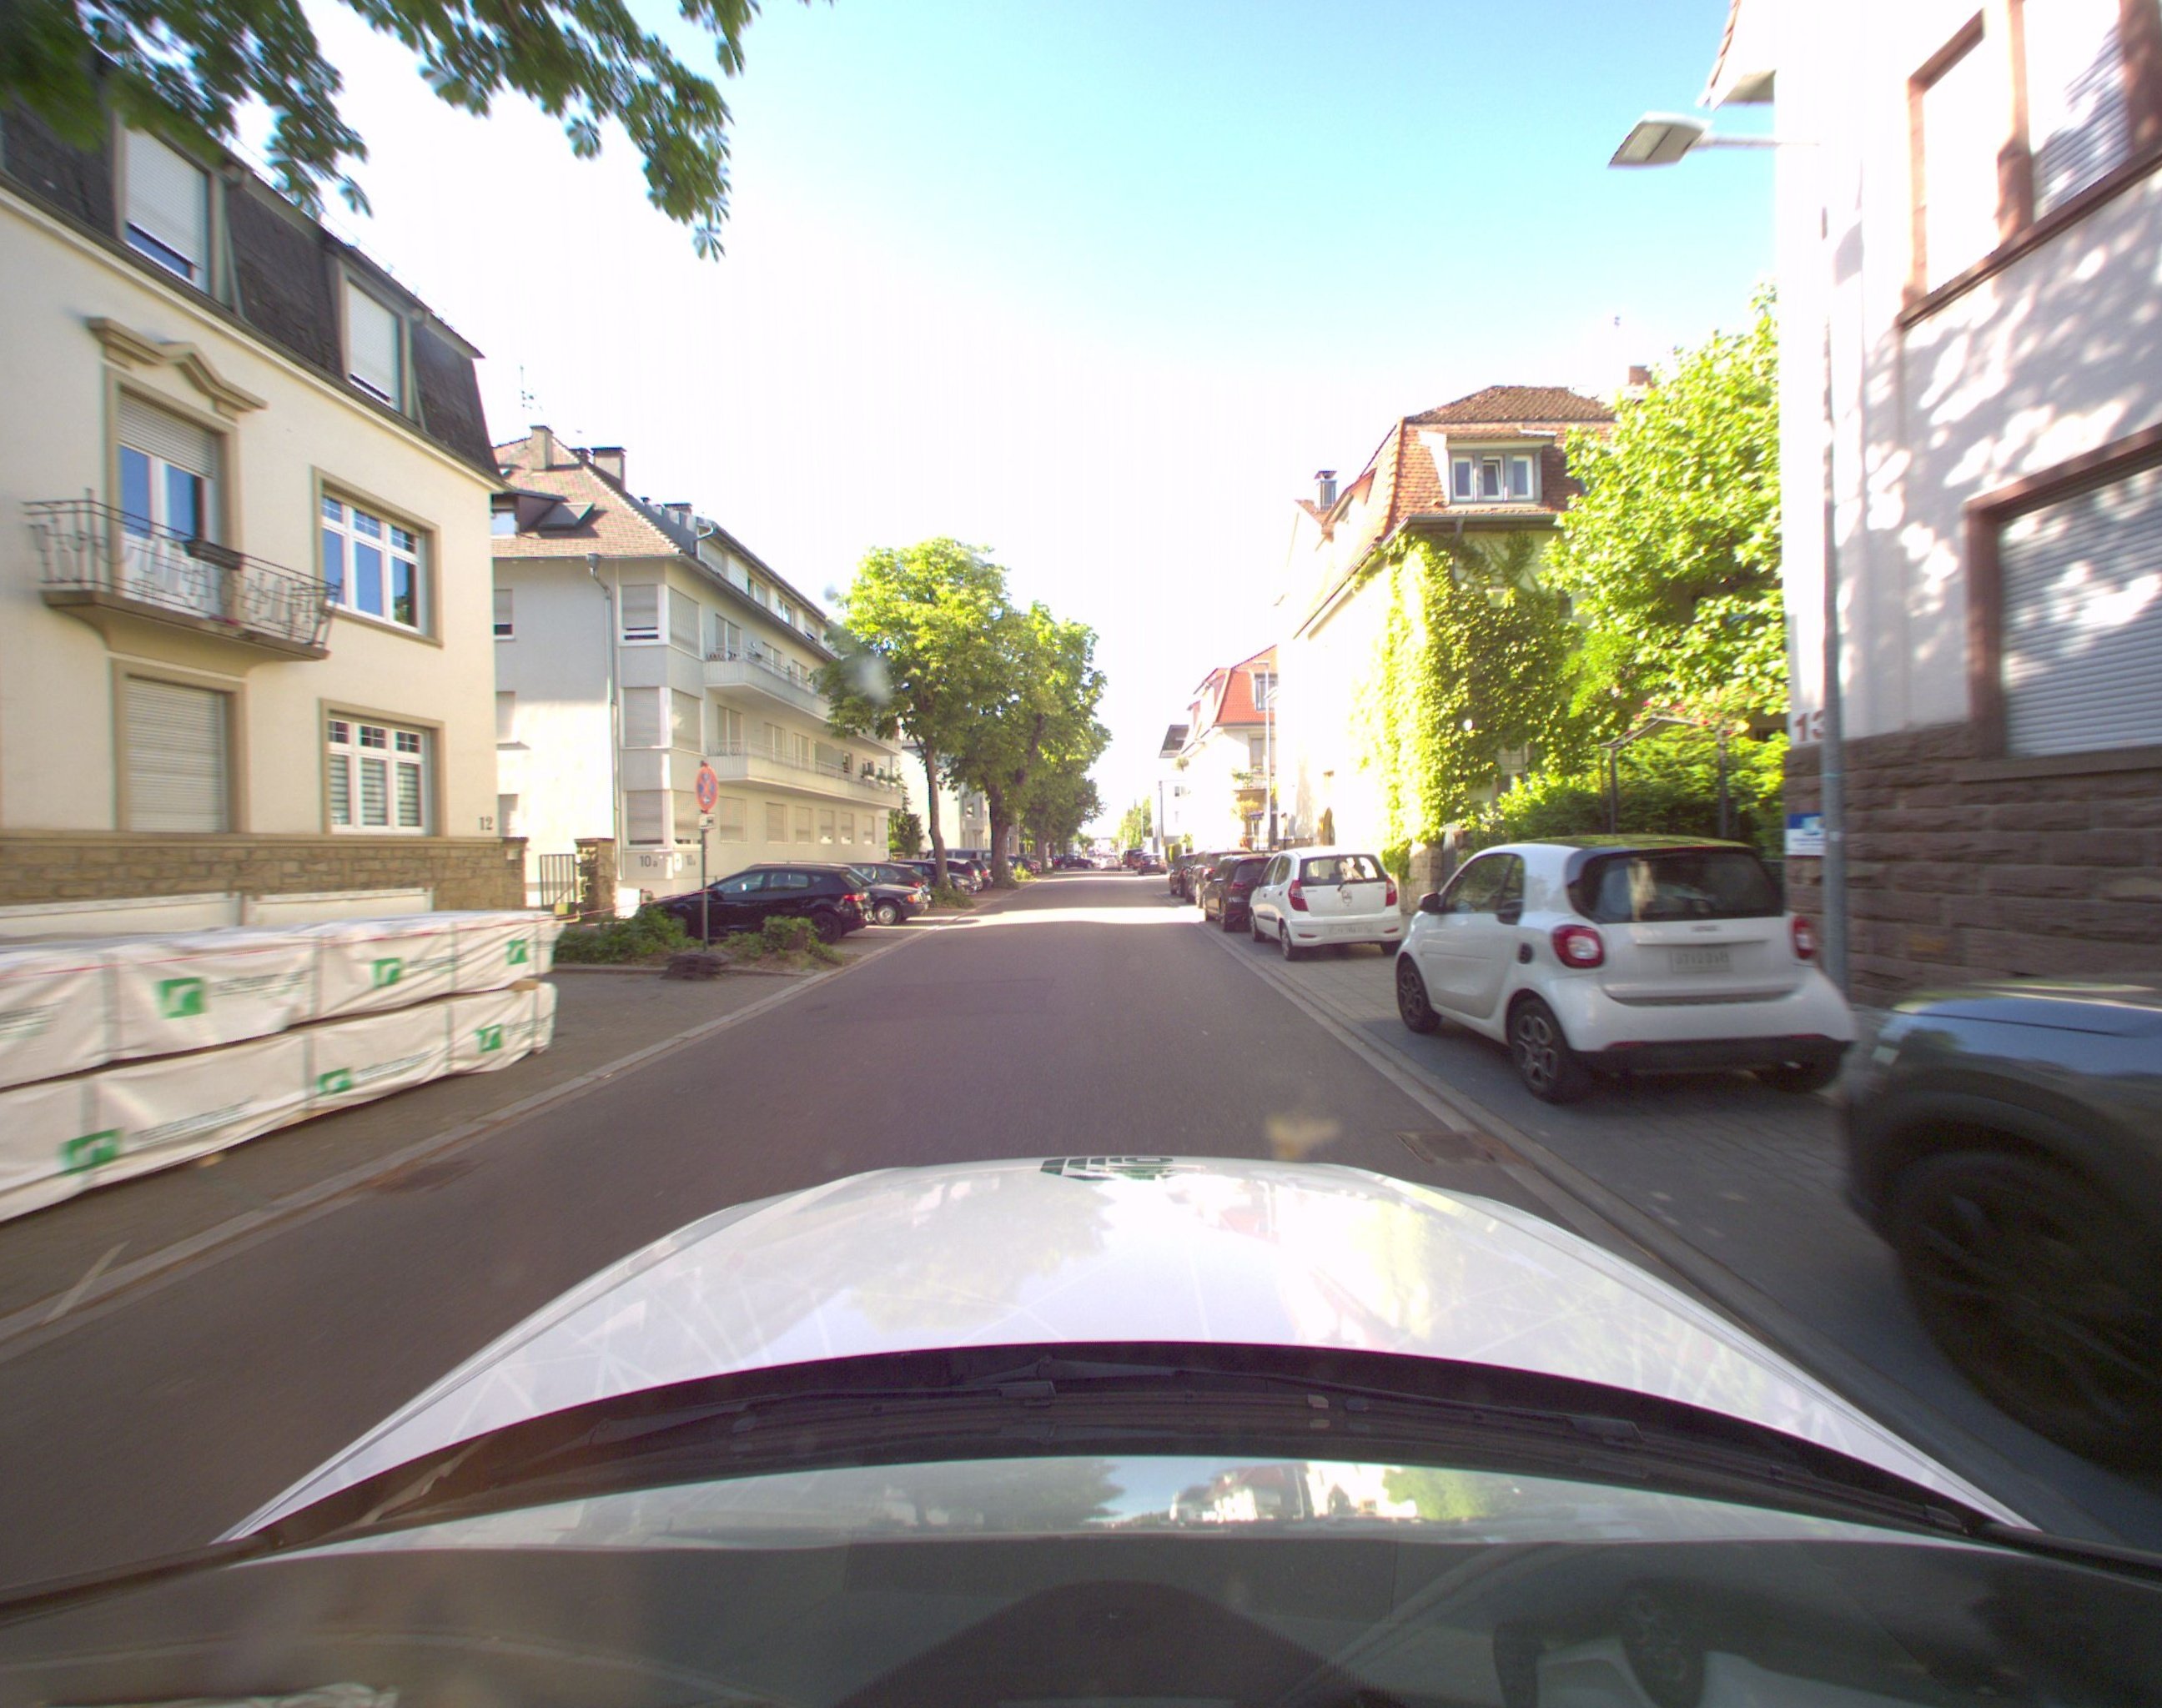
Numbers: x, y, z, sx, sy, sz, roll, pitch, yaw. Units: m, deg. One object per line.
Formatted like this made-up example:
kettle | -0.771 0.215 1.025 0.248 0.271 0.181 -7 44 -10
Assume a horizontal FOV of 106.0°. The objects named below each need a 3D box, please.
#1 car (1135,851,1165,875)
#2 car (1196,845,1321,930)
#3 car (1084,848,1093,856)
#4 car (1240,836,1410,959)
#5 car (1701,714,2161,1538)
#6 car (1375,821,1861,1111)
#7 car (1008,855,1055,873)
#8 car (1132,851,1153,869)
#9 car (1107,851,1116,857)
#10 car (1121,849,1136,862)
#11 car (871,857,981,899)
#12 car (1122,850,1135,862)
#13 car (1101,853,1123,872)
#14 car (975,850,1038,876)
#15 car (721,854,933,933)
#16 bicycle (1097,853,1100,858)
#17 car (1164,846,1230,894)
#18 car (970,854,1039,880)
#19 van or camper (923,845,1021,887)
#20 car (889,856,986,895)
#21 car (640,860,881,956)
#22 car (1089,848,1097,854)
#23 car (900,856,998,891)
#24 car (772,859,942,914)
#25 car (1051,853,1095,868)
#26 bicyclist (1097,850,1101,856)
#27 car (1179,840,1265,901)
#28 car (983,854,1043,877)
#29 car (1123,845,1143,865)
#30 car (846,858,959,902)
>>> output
car | 4.635 0.574 54.950 1.614 1.439 3.934 -4 0 0
car | 3.508 0.629 16.852 1.703 1.436 4.194 -3 -1 1
car | 1.842 -0.522 193.262 1.868 1.728 3.996 -2 0 -3
car | 3.552 0.599 12.466 1.570 1.549 3.469 -3 -1 1
car | 3.085 0.555 0.816 1.771 1.696 4.322 1 -1 2
car | 3.411 0.624 5.831 1.619 1.549 2.870 0 -1 1
car | -4.407 0.891 72.465 4.008 1.484 1.807 1 0 1
car | 5.381 0.502 71.359 1.586 1.480 3.248 -3 0 1
car | 7.288 -0.031 195.511 1.718 1.330 3.996 -2 0 -3
car | 5.858 0.215 100.778 1.730 1.531 4.180 -2 0 2
car | -5.613 0.864 29.808 3.628 1.463 1.712 0 0 3
car | 6.453 0.257 111.113 1.558 1.410 3.732 -5 -1 3
car | 2.594 0.697 68.144 1.720 1.420 3.963 -2 0 3
car | -5.490 0.661 60.445 4.369 1.652 1.824 -3 1 2
car | -6.032 0.907 19.831 4.586 1.607 1.828 -3 0 -8
bicycle | 4.085 0.249 188.041 0.716 1.079 1.892 -2 0 2
car | 4.052 0.552 29.071 1.658 1.520 3.999 -3 -1 -1
car | -4.874 0.834 52.080 4.173 1.498 1.861 -2 0 0
van or camper | -5.337 0.567 40.266 4.481 1.914 1.965 -1 0 1
car | -5.628 0.830 32.318 3.464 1.458 1.799 0 0 2
car | -5.920 0.959 15.484 3.868 1.514 1.828 -3 0 -8
car | 3.204 -0.869 216.530 1.780 1.532 4.003 5 1 2
car | -5.587 0.829 34.871 3.910 1.414 1.715 0 1 -1
car | -6.086 0.872 22.472 4.174 1.441 1.713 0 0 0
car | -0.837 0.682 82.434 4.195 1.448 1.704 1 -1 -15
bicyclist | 4.106 -0.253 187.849 0.718 1.537 1.137 -2 0 2
car | 3.986 0.472 23.692 1.785 1.520 4.367 -3 -1 1
car | -4.771 0.801 57.222 3.973 1.468 1.697 -2 0 1
car | 5.359 0.115 84.082 1.864 1.905 5.201 -3 -1 3
car | -5.934 0.849 27.397 3.471 1.420 1.708 0 -1 -4
